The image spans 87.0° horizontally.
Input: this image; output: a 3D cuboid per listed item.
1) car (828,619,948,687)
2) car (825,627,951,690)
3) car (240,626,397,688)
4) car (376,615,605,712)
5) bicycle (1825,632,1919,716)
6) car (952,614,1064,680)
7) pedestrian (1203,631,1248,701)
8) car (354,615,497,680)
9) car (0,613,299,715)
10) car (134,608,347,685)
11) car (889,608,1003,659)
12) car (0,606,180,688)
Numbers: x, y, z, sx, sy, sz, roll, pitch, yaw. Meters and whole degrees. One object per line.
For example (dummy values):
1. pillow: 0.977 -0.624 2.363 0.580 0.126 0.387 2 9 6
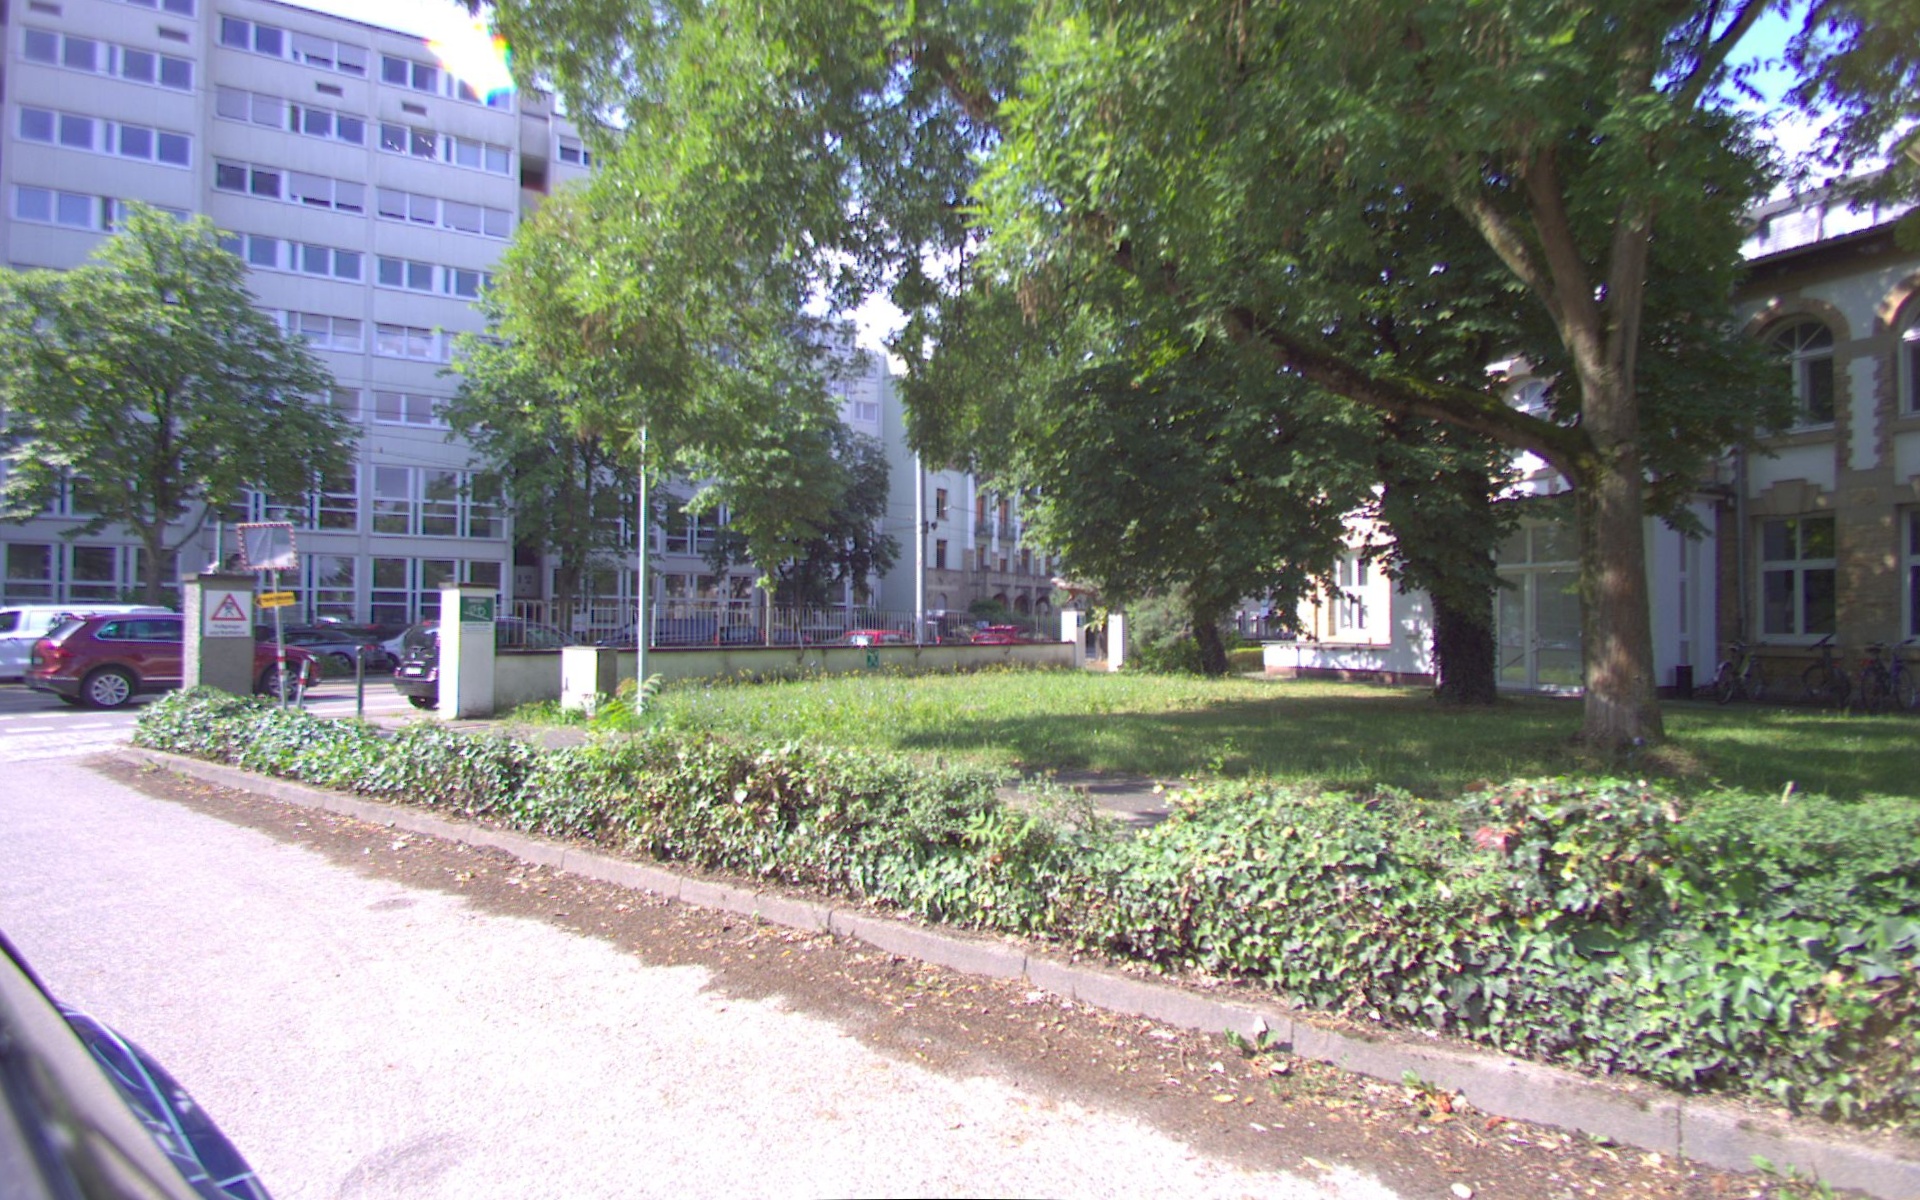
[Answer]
1. car: -1.996 1.459 28.721 1.669 1.497 3.242 -2 3 35
2. car: -1.983 1.634 28.713 1.675 1.624 3.542 -3 -2 34
3. car: -19.444 1.702 30.838 3.576 1.511 1.767 -3 3 -13
4. car: -8.677 1.123 18.939 1.675 1.624 3.542 -3 -2 34
5. bicycle: 13.854 1.092 15.205 2.031 1.064 0.421 -4 0 -24
6. car: 1.703 1.539 34.517 1.963 1.718 3.953 1 5 36
7. pedestrian: 6.914 1.698 26.356 0.795 1.690 0.775 -4 4 -28
8. car: -17.573 1.530 33.434 3.698 1.724 1.888 -3 4 -10
9. car: -14.506 1.056 18.328 1.675 1.624 3.925 -1 -1 33
10. car: -20.075 1.286 28.414 4.502 2.013 1.906 -1 -2 -6
11. car: -0.478 1.332 39.861 1.943 1.787 4.777 -6 -5 36
12. car: -22.606 1.202 25.292 4.570 1.927 1.935 -1 -3 -6
